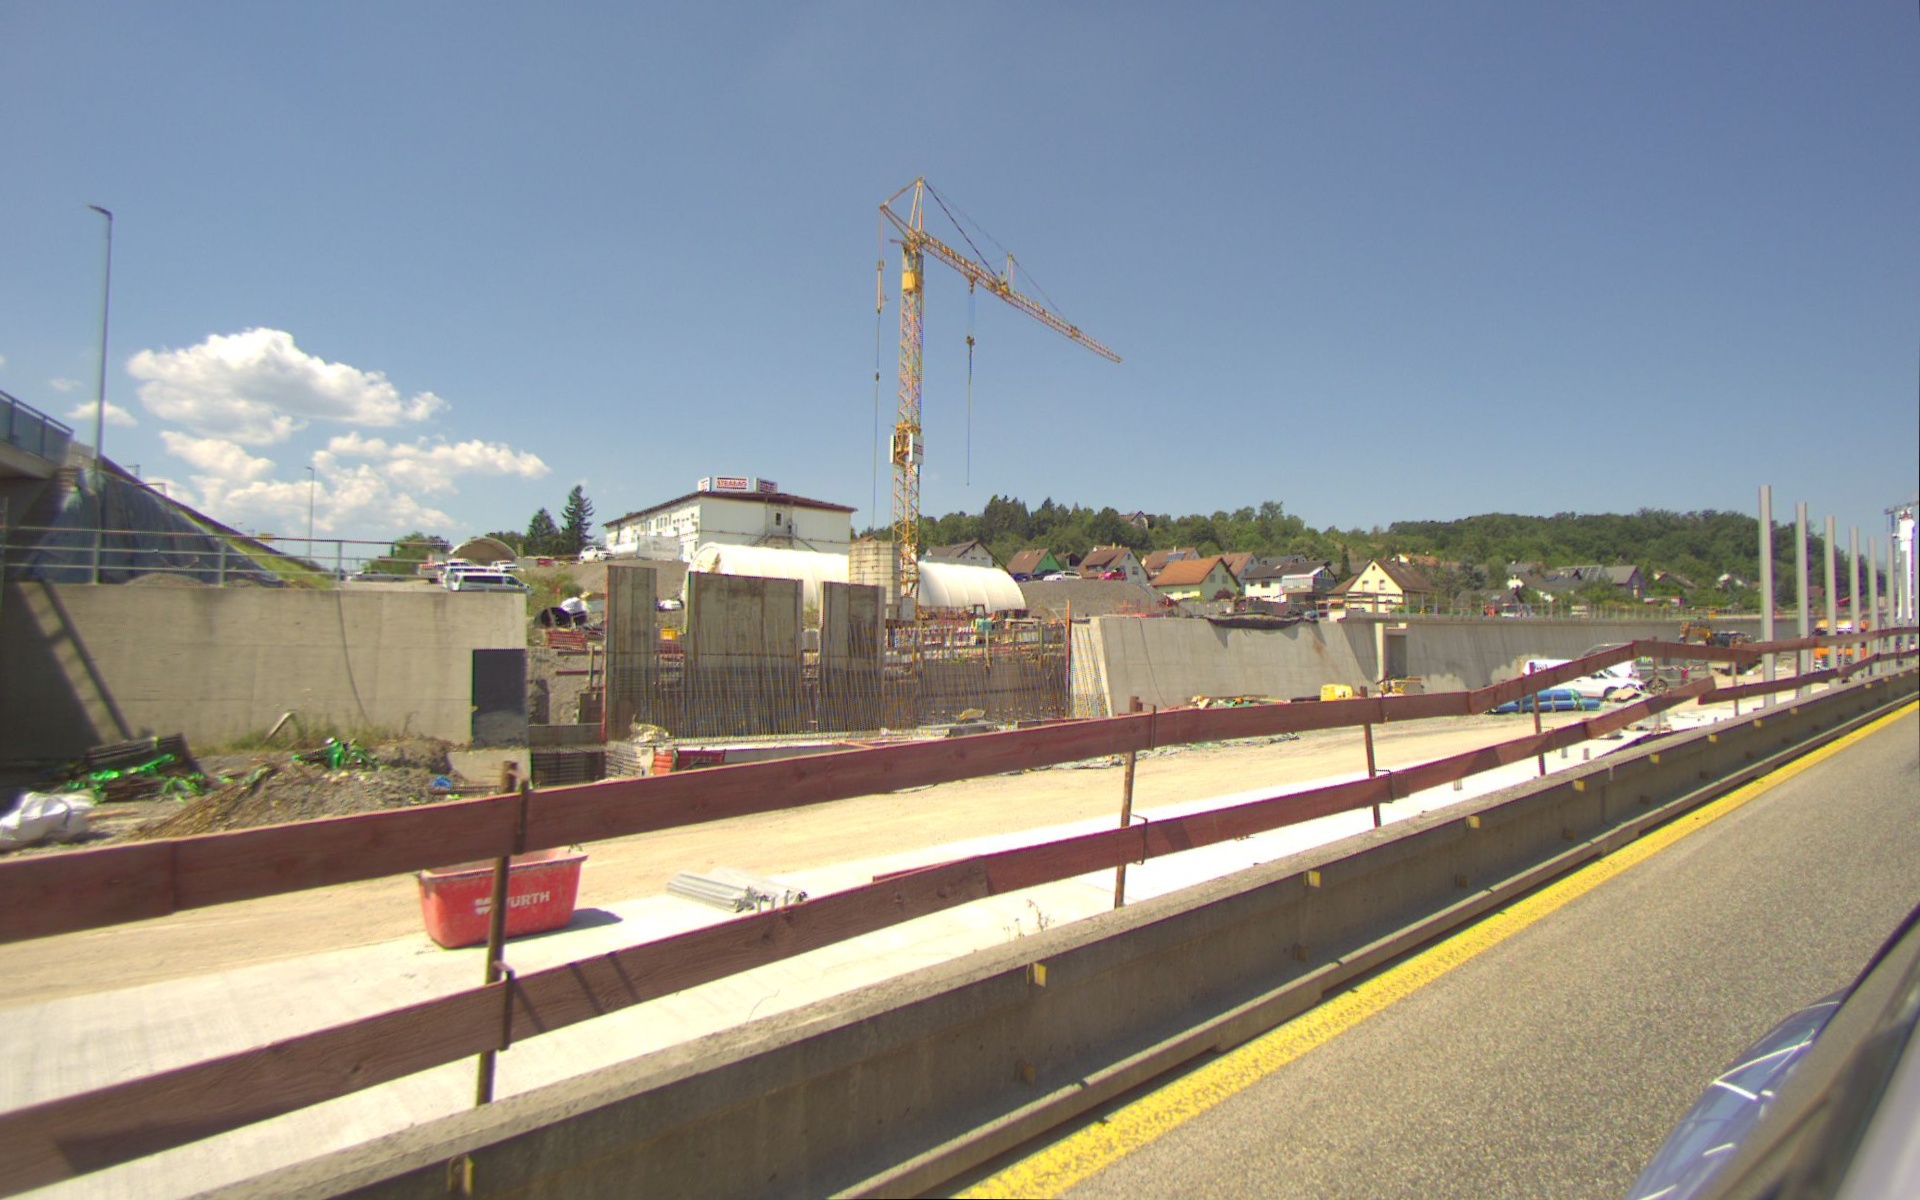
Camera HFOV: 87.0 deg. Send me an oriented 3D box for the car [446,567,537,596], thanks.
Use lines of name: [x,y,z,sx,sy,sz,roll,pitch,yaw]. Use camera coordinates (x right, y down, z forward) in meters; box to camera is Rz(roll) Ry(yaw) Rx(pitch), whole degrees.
car: [-32.868,-1.305,71.083,5.468,1.984,1.999,-1,0,-37]

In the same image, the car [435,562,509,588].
car: [-37.739,-1.924,78.340,4.893,1.984,1.999,-1,0,-37]

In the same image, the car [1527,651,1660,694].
car: [28.532,3.211,45.723,1.689,1.792,4.797,1,-3,-40]

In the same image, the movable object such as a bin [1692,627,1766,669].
movable object such as a bin: [56.499,3.488,74.365,3.924,2.820,3.270,-1,0,-35]

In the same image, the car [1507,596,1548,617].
car: [47.523,0.502,84.712,4.527,1.623,1.656,-1,0,-42]

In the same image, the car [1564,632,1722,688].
car: [33.705,3.013,50.117,6.268,2.615,2.027,-4,-4,37]

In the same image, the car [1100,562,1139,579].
car: [14.600,-2.710,92.593,3.543,1.505,1.544,-1,0,-40]

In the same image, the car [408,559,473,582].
car: [-46.248,-2.582,90.172,4.893,1.984,1.999,-1,0,-37]

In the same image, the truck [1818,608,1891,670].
truck: [53.802,2.267,60.847,5.341,3.447,2.503,-1,0,-40]

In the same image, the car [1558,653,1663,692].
car: [30.802,3.399,47.981,1.665,1.708,3.860,0,-2,-45]

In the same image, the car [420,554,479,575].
car: [-49.942,-3.442,99.109,4.893,1.984,1.999,-1,0,-37]

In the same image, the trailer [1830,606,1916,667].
trailer: [58.916,2.210,65.155,12.668,3.394,2.445,-1,0,-40]

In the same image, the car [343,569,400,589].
car: [-60.018,-2.120,103.277,4.893,1.984,1.999,-1,0,-37]

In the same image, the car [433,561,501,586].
car: [-41.534,-2.240,85.320,4.893,1.984,1.999,-1,0,-37]

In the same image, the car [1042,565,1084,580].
car: [10.257,-2.716,100.611,4.141,1.505,1.728,-1,0,-40]
